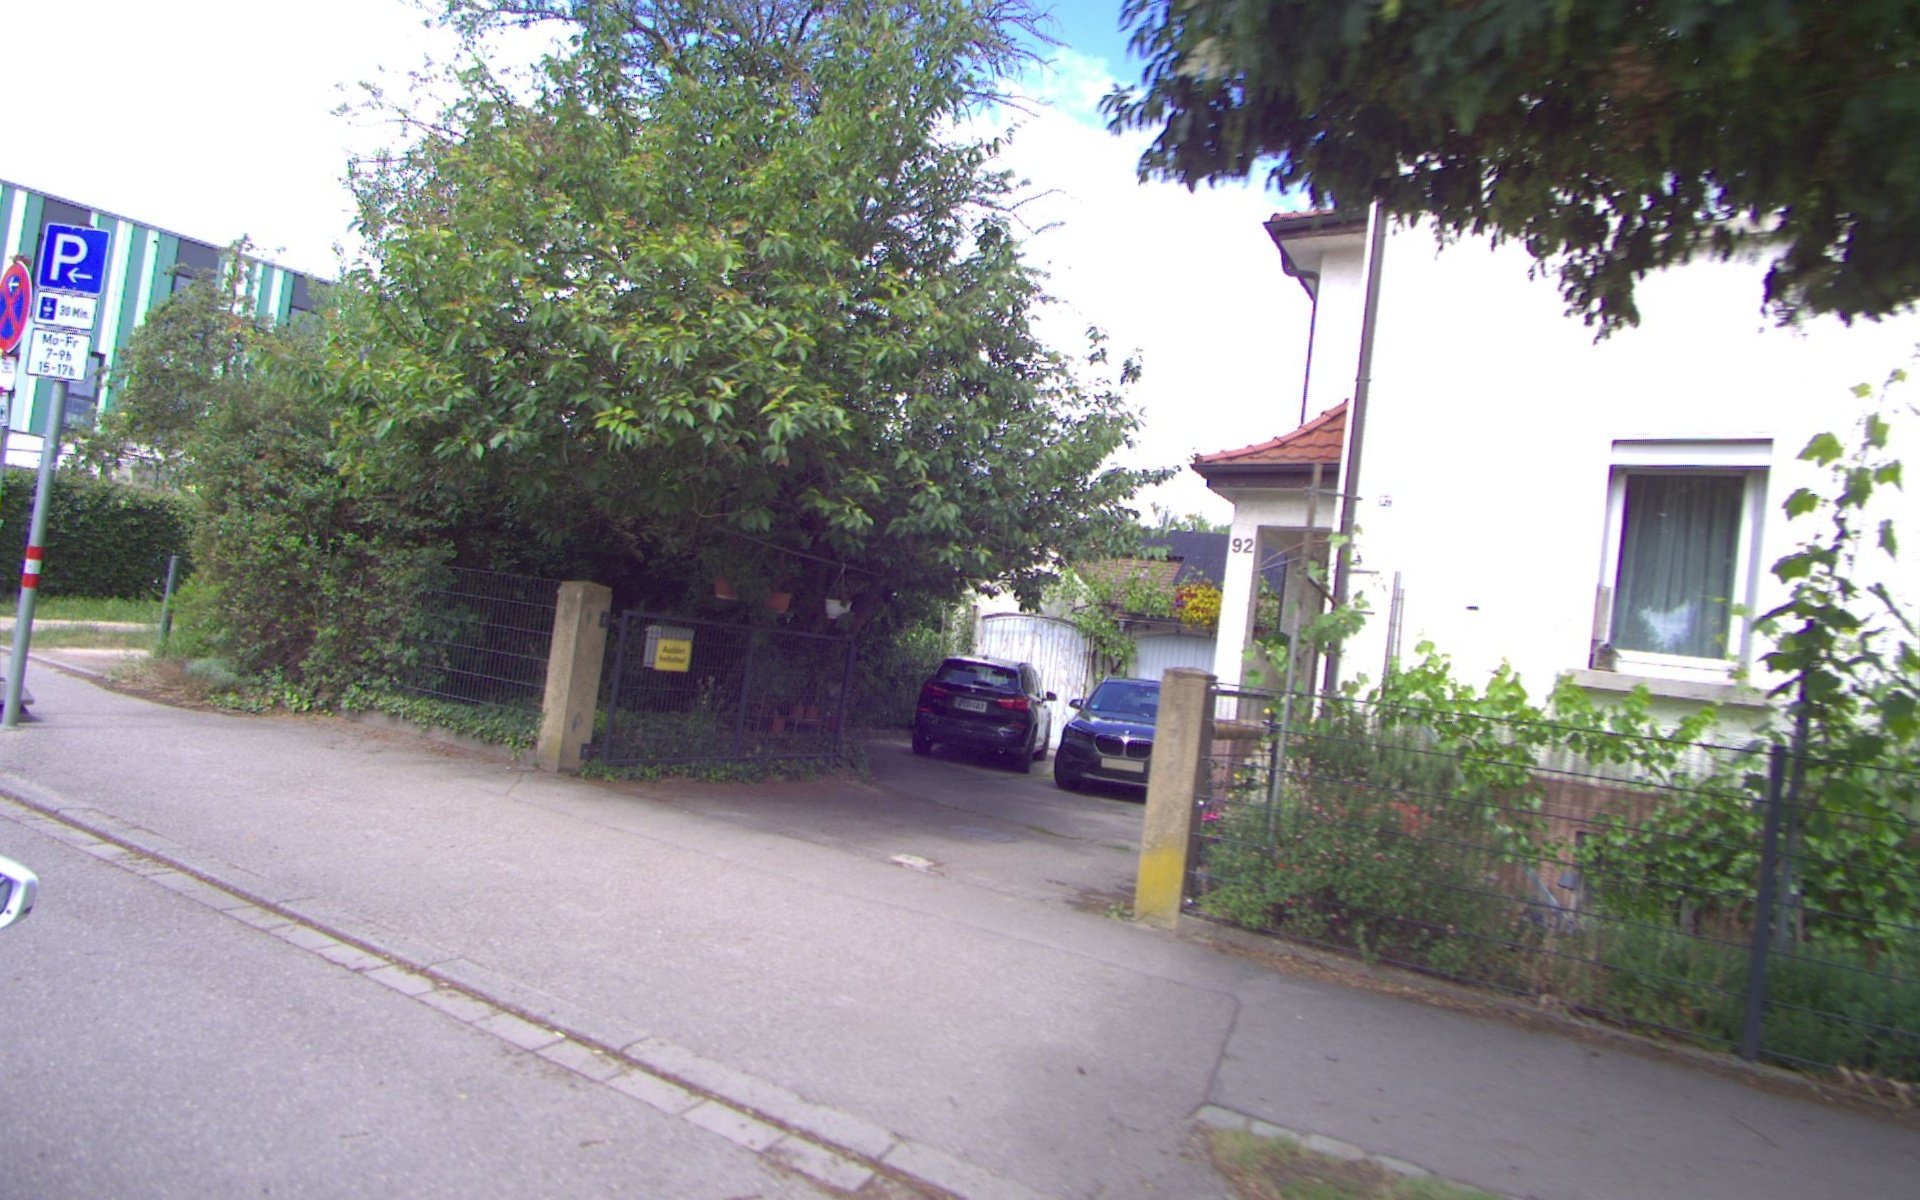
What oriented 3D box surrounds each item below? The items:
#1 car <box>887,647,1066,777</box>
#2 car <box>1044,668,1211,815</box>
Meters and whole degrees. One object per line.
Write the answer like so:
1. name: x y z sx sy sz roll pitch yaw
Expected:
1. car: 0.414 1.723 15.924 1.962 1.524 4.008 7 -4 12
2. car: 2.459 1.893 14.244 1.846 1.524 4.008 7 -4 13
